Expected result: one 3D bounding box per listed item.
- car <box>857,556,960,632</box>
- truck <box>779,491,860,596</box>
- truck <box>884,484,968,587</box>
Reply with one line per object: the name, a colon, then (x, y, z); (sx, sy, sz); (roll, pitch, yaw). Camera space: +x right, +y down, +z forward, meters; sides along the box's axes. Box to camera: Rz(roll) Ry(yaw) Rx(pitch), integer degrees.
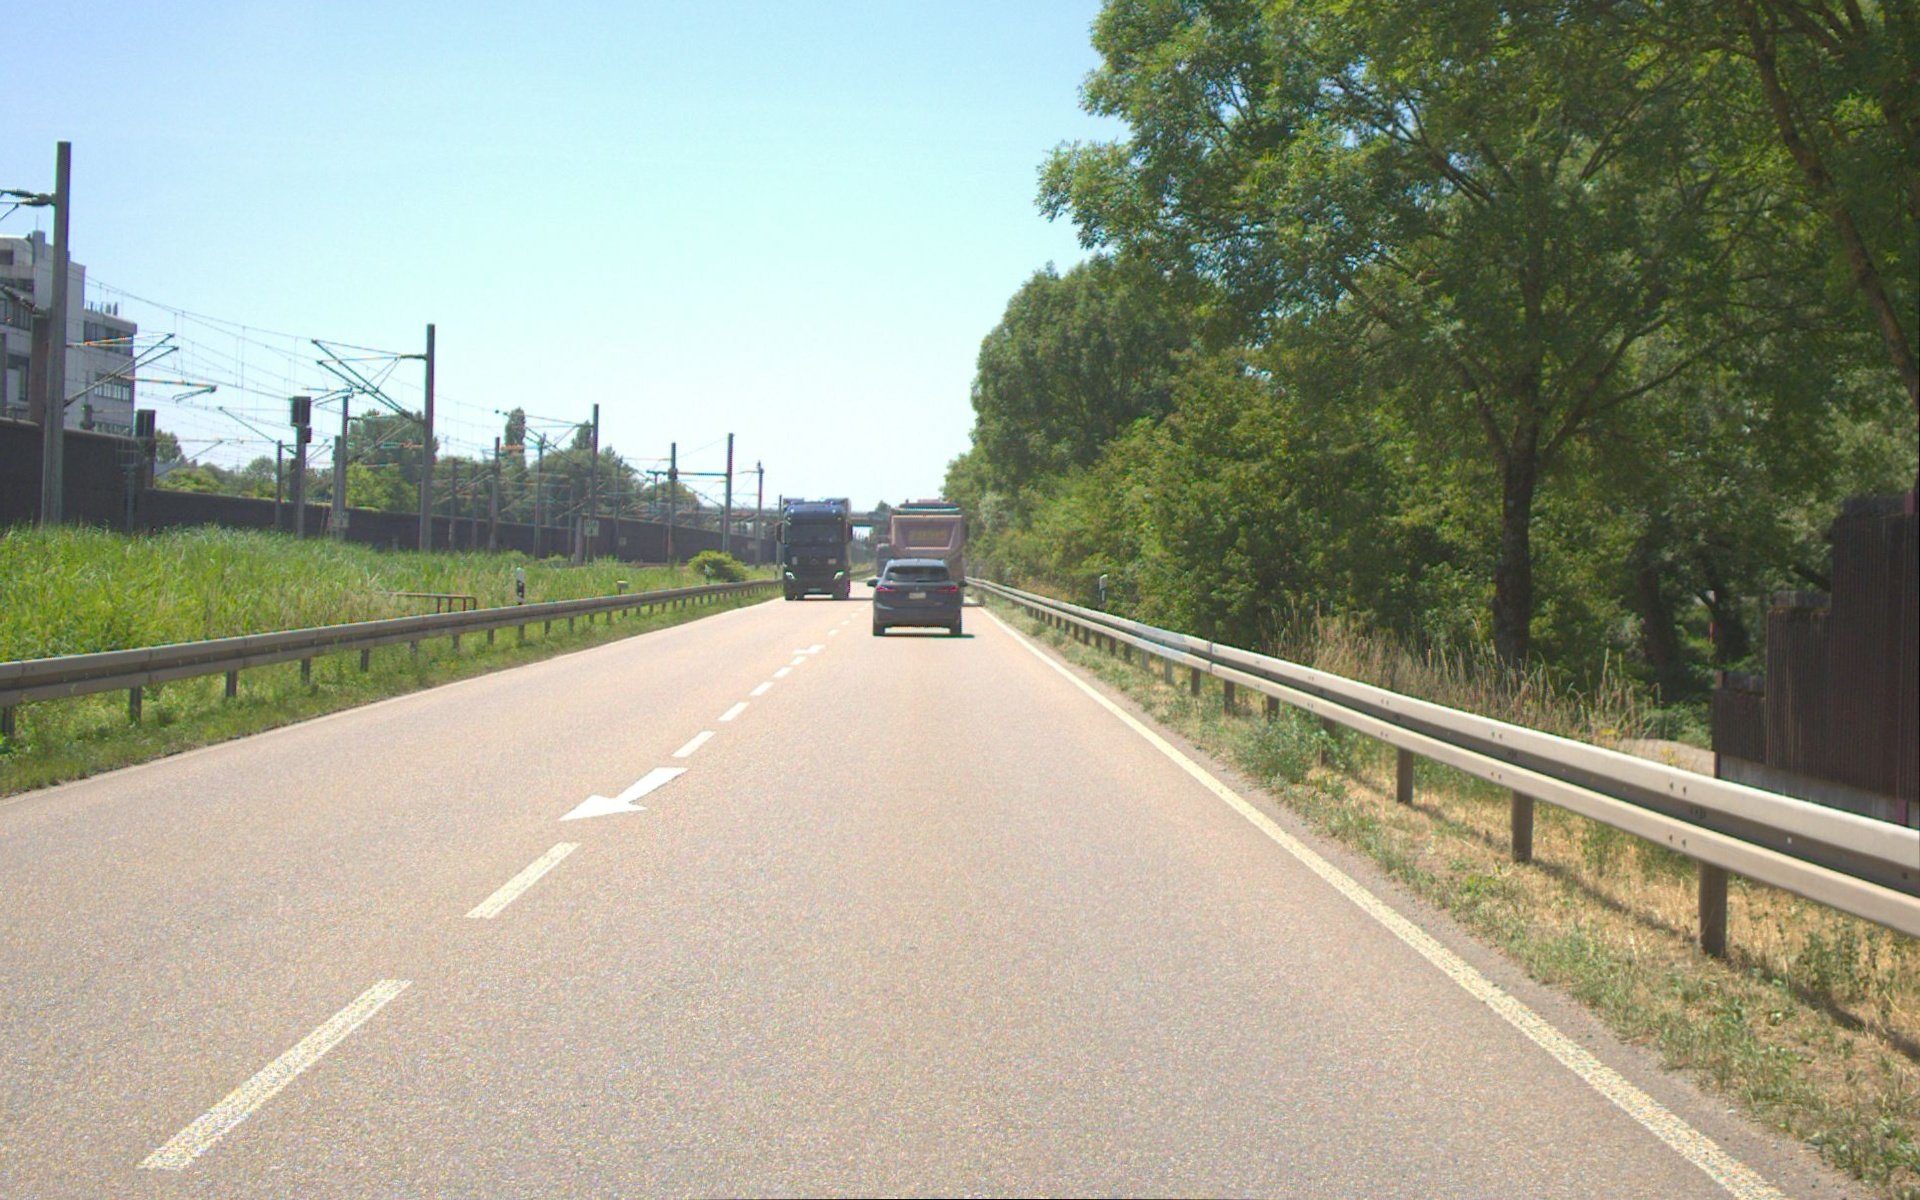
car: (-1.086, -0.142, 70.528); (1.993, 1.503, 4.001); (0, 1, -3)
truck: (-5.588, -2.279, 138.195); (2.797, 3.964, 10.501); (2, 1, -1)
truck: (-1.199, -2.213, 120.653); (2.770, 3.414, 10.820); (1, 1, -1)
